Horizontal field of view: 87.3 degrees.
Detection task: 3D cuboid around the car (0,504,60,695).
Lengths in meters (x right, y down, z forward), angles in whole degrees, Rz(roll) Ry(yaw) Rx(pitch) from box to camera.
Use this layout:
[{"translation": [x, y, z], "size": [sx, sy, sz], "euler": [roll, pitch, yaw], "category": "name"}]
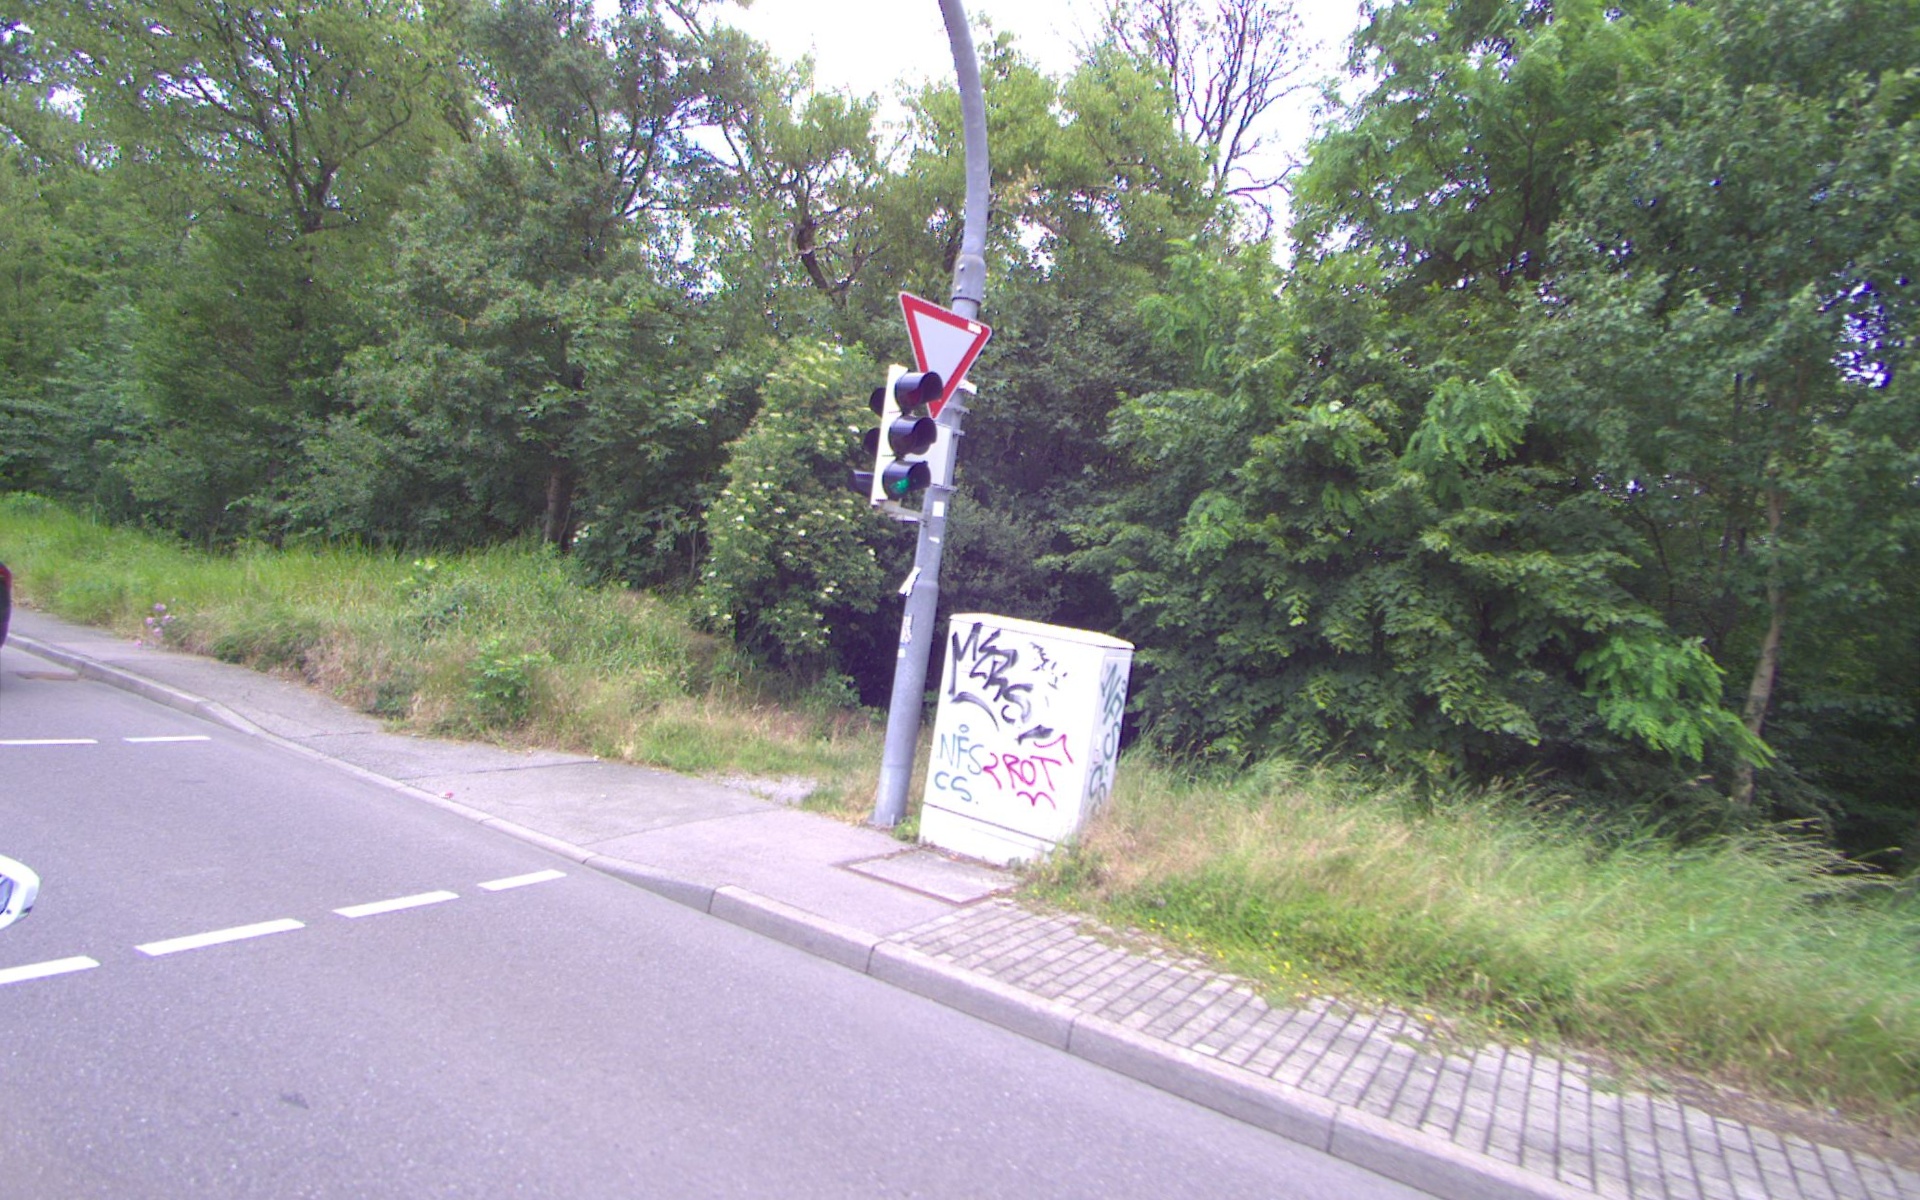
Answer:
[{"translation": [-9.386, -0.258, 8.125], "size": [3.930, 1.467, 1.797], "euler": [7, -1, 28], "category": "car"}]
